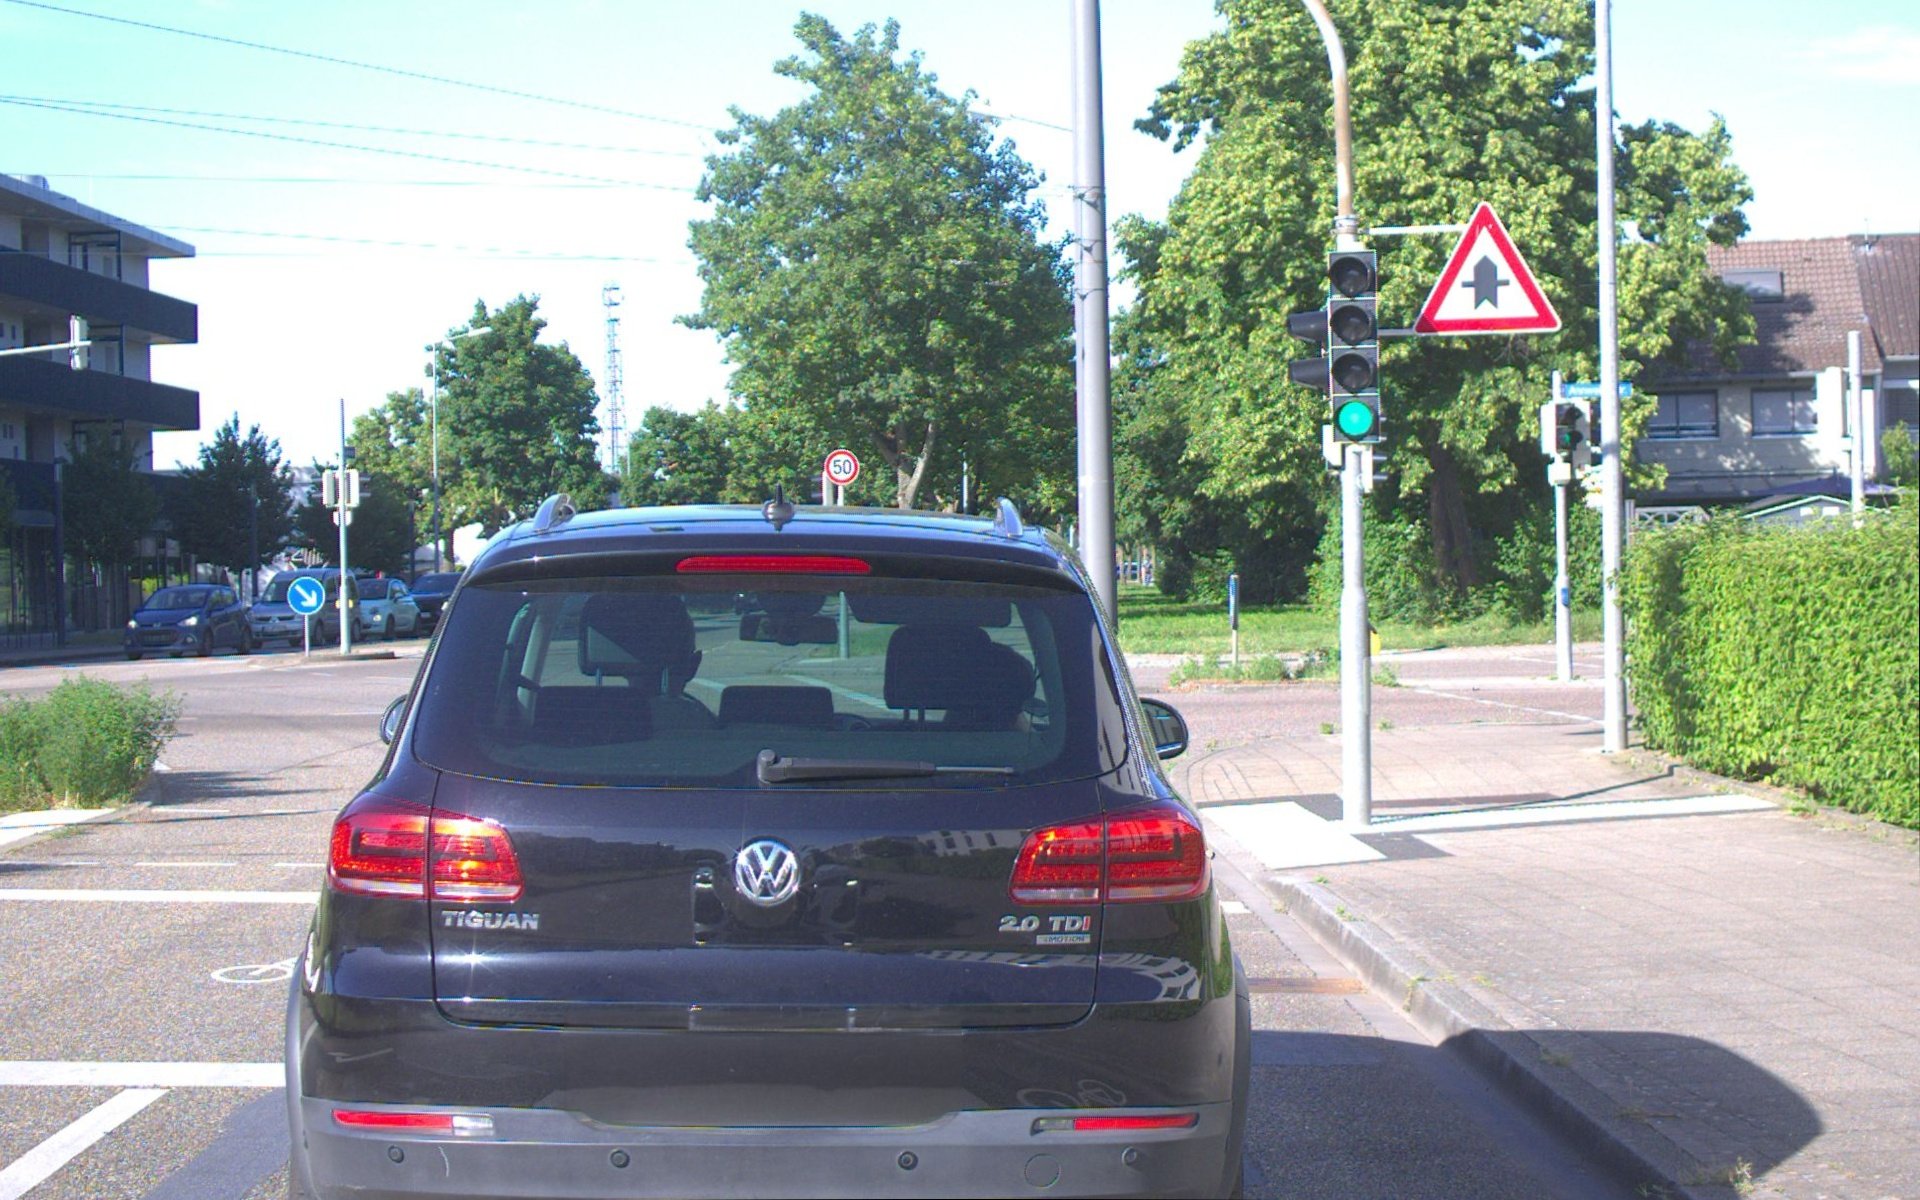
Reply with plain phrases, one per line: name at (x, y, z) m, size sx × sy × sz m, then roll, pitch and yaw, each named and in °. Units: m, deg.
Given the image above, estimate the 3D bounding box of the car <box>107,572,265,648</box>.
car at (-15.825, 0.183, 70.538) m, size 1.696 × 1.451 × 4.451 m, roll -1°, pitch 1°, yaw 8°

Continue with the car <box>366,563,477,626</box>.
car at (-13.874, -0.161, 88.890) m, size 1.967 × 1.529 × 4.740 m, roll -1°, pitch 1°, yaw 2°

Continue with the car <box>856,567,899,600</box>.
car at (-4.454, -0.910, 186.499) m, size 1.993 × 1.731 × 5.199 m, roll -2°, pitch 1°, yaw 2°

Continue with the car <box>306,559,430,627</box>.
car at (-14.315, -0.176, 83.262) m, size 1.994 × 1.482 × 3.543 m, roll -3°, pitch 1°, yaw 6°

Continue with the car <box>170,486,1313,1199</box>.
car at (-0.447, 0.625, 8.128) m, size 1.929 × 1.649 × 4.514 m, roll 1°, pitch 0°, yaw -2°

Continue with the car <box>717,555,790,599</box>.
car at (-7.807, -0.884, 130.556) m, size 1.994 × 1.566 × 3.999 m, roll -2°, pitch 1°, yaw 8°

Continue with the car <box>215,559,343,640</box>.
car at (-15.453, -0.037, 78.225) m, size 1.993 × 1.749 × 4.362 m, roll -1°, pitch 1°, yaw 0°
